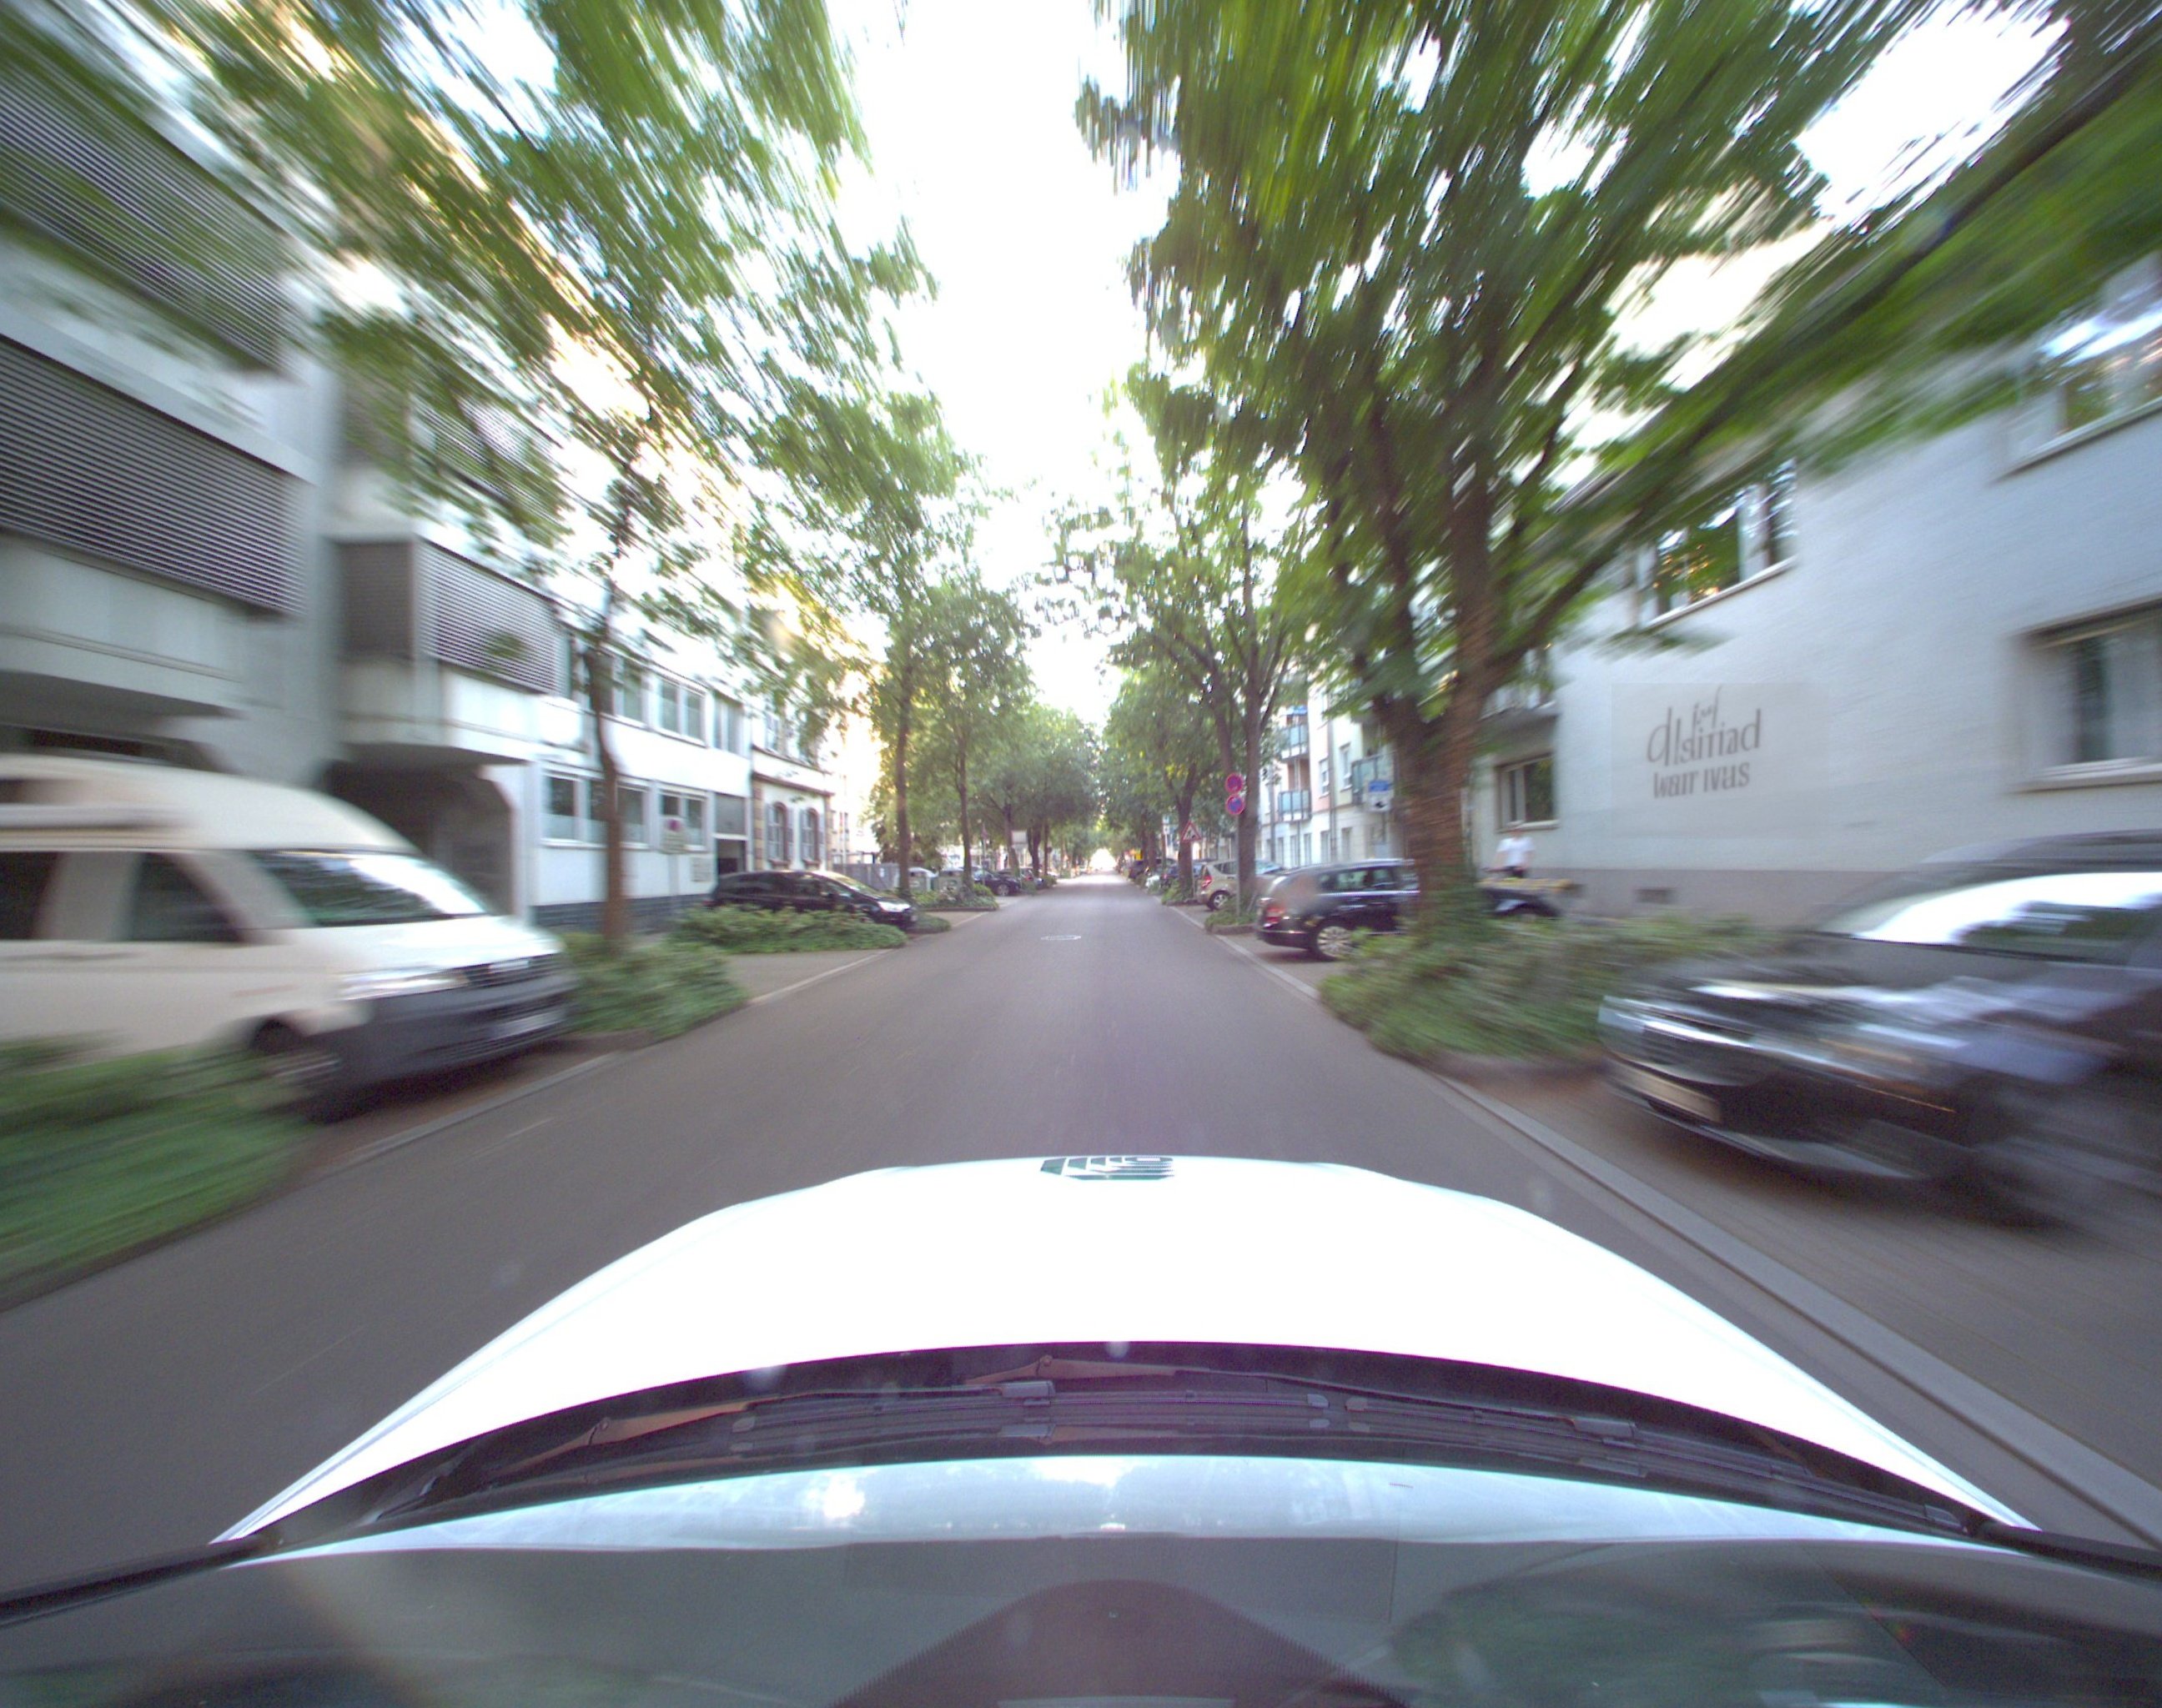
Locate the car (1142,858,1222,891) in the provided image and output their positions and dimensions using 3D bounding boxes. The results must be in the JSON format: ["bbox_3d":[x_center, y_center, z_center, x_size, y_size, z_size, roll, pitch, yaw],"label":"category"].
[{"bbox_3d":[6.337,1.306,51.222,4.631,1.617,2.008,-5,-1,-3],"label":"car"}]

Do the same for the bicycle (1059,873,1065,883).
[{"bbox_3d":[-2.270,2.832,97.569,0.681,1.153,1.978,-2,-1,-4],"label":"bicycle"}]

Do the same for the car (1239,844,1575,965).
[{"bbox_3d":[4.869,0.760,12.790,4.437,1.427,2.014,-5,-2,5],"label":"car"}]

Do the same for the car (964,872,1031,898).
[{"bbox_3d":[-5.154,1.901,50.714,3.974,1.464,1.922,-2,-1,0],"label":"car"}]

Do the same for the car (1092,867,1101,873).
[{"bbox_3d":[3.869,3.987,203.179,2.003,1.613,4.119,-2,-1,0],"label":"car"}]

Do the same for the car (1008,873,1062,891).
[{"bbox_3d":[-4.165,2.551,74.249,4.599,1.552,2.077,-1,-1,3],"label":"car"}]

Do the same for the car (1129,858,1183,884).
[{"bbox_3d":[6.600,1.474,72.010,4.585,2.066,2.197,-2,-1,0],"label":"car"}]

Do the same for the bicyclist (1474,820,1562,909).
[{"bbox_3d":[8.266,0.208,15.453,0.968,1.604,1.135,-2,-1,-3],"label":"bicyclist"}]

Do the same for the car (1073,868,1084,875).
[{"bbox_3d":[-0.432,3.421,156.942,1.989,1.288,3.996,-2,-1,-3],"label":"car"}]

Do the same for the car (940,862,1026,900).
[{"bbox_3d":[-5.414,1.499,45.459,4.490,1.955,1.999,-1,-1,0],"label":"car"}]

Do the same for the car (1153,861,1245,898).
[{"bbox_3d":[5.760,1.242,39.965,4.076,1.451,1.932,-5,-1,-4],"label":"car"}]

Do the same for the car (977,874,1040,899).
[{"bbox_3d":[-4.944,2.206,55.753,3.966,1.566,1.933,-2,-1,6],"label":"car"}]

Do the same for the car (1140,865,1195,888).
[{"bbox_3d":[6.298,1.639,59.642,3.764,1.544,1.877,-1,-1,0],"label":"car"}]

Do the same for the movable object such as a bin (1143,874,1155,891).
[{"bbox_3d":[4.773,1.986,57.102,0.757,1.084,0.786,-3,-1,2],"label":"movable object such as a bin"}]

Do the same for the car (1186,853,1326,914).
[{"bbox_3d":[5.479,0.915,25.919,3.956,1.585,1.916,-4,-1,0],"label":"car"}]

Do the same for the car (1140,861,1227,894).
[{"bbox_3d":[5.746,1.339,46.055,4.584,1.468,1.796,-5,-1,0],"label":"car"}]

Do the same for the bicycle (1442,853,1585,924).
[{"bbox_3d":[7.923,0.613,15.191,0.619,1.164,3.396,-2,-1,-4],"label":"bicycle"}]

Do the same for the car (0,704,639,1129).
[{"bbox_3d":[-6.431,0.432,6.141,4.985,2.573,2.121,-2,-1,1],"label":"car"}]

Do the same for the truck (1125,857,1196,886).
[{"bbox_3d":[6.733,1.501,69.263,5.865,2.311,2.213,-2,-2,2],"label":"truck"}]

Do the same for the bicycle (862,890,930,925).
[{"bbox_3d":[-4.674,1.354,20.639,1.545,0.830,0.614,-2,-1,4],"label":"bicycle"}]

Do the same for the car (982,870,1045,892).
[{"bbox_3d":[-4.783,1.932,58.387,4.272,1.430,1.879,-2,-1,1],"label":"car"}]

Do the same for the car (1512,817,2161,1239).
[{"bbox_3d":[4.982,0.567,3.937,4.659,1.388,2.002,-4,-1,2],"label":"car"}]

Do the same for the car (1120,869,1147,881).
[{"bbox_3d":[7.731,3.120,120.650,3.970,1.585,2.001,-2,-2,3],"label":"car"}]

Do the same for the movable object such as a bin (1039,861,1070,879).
[{"bbox_3d":[-3.665,2.193,112.130,4.039,2.383,2.780,-2,-1,-4],"label":"movable object such as a bin"}]

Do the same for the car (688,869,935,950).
[{"bbox_3d":[-5.981,1.215,18.538,4.834,1.622,2.161,-1,-1,2],"label":"car"}]
